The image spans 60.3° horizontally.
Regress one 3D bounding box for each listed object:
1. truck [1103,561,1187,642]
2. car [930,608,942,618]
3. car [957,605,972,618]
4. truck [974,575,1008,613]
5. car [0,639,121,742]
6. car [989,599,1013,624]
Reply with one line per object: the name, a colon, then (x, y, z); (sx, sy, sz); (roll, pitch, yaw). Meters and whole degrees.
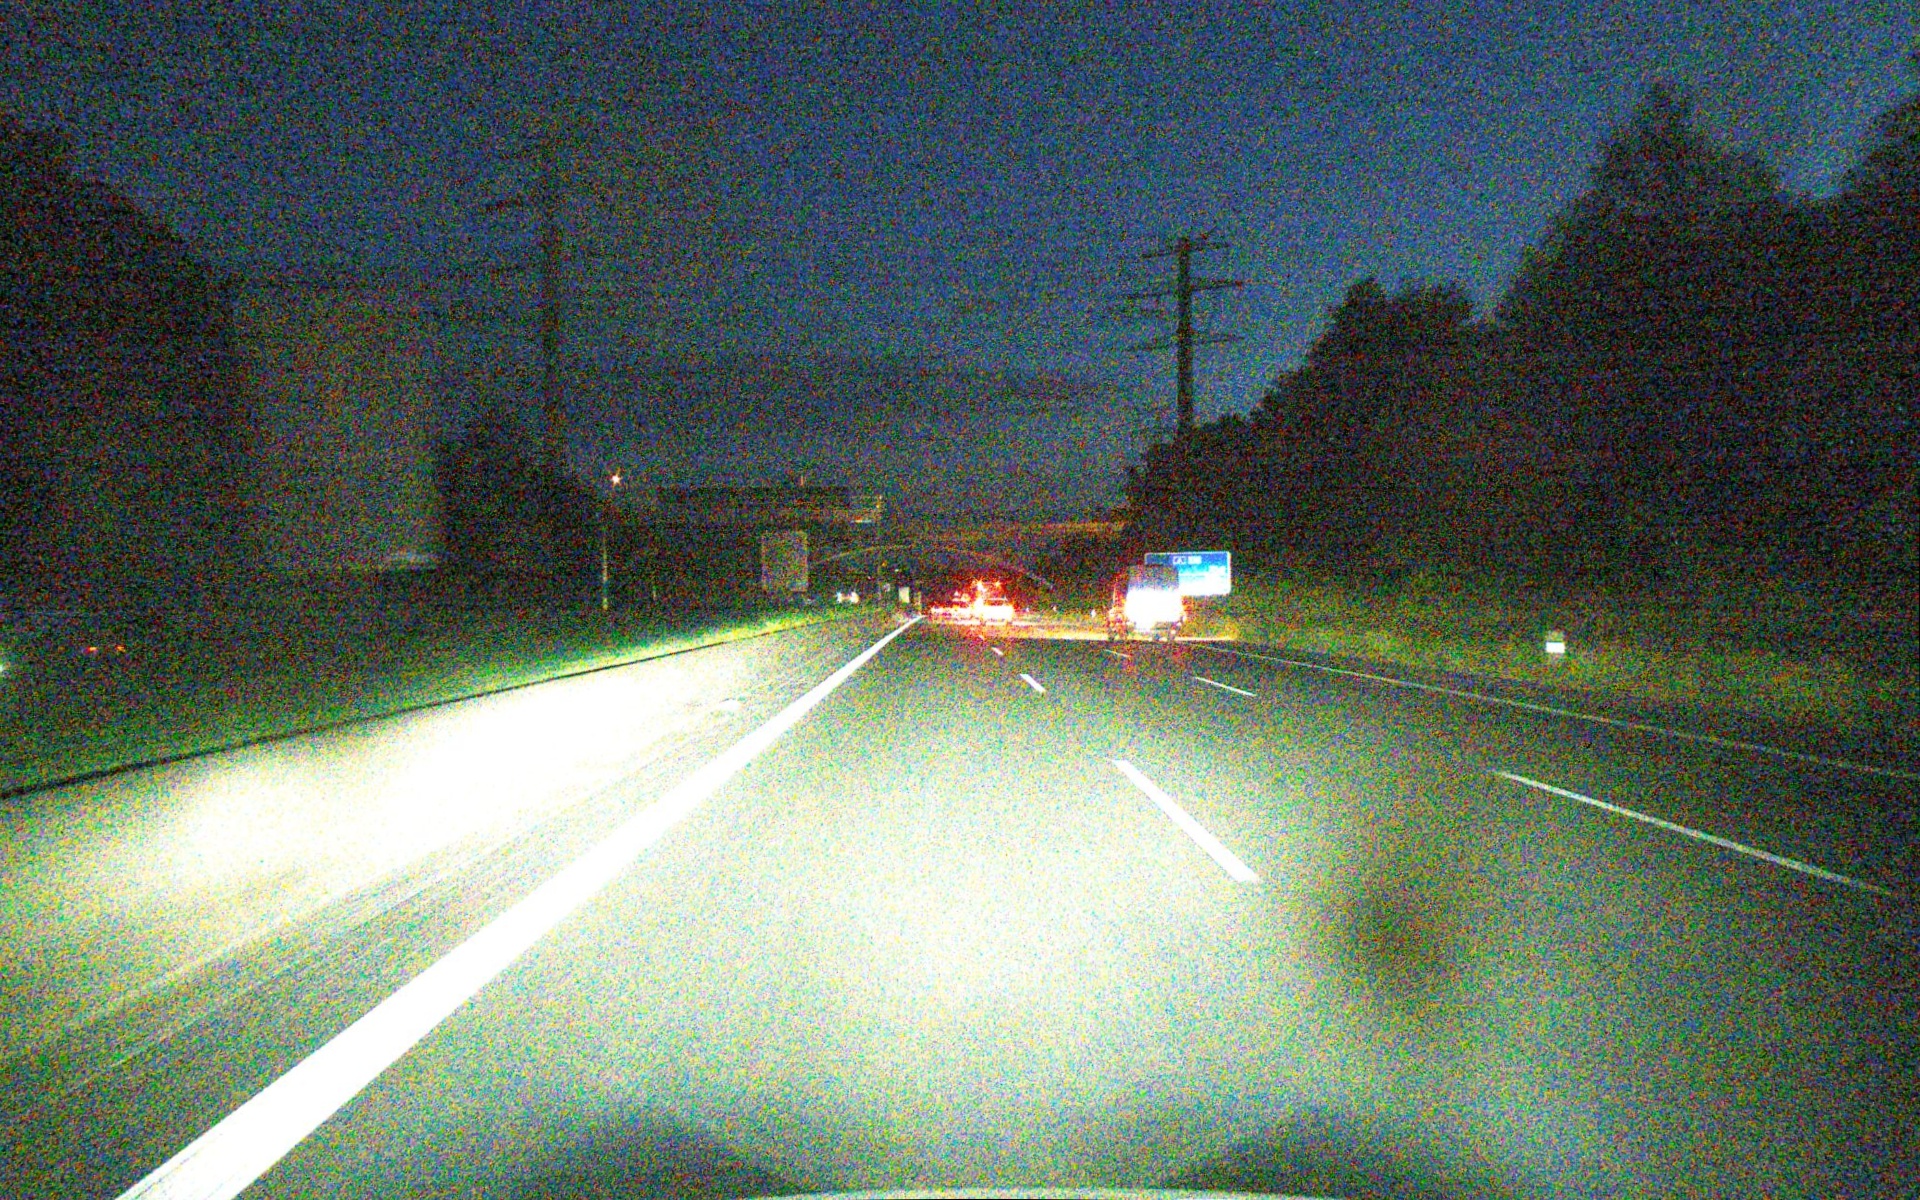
truck: (6.682, 0.155, 60.592); (2.035, 2.738, 7.304); (1, -2, -2)
car: (-3.552, 1.929, 246.563); (1.783, 1.492, 4.248); (1, 1, 0)
car: (0.538, 1.413, 206.650); (1.783, 1.492, 4.248); (1, 1, 0)
truck: (2.904, -0.625, 155.986); (2.982, 3.382, 10.142); (1, 1, 0)
car: (-15.727, 1.441, 27.191); (1.604, 1.578, 4.469); (1, -1, -1)
car: (2.399, 0.661, 97.669); (1.318, 1.411, 3.501); (1, 1, 0)
